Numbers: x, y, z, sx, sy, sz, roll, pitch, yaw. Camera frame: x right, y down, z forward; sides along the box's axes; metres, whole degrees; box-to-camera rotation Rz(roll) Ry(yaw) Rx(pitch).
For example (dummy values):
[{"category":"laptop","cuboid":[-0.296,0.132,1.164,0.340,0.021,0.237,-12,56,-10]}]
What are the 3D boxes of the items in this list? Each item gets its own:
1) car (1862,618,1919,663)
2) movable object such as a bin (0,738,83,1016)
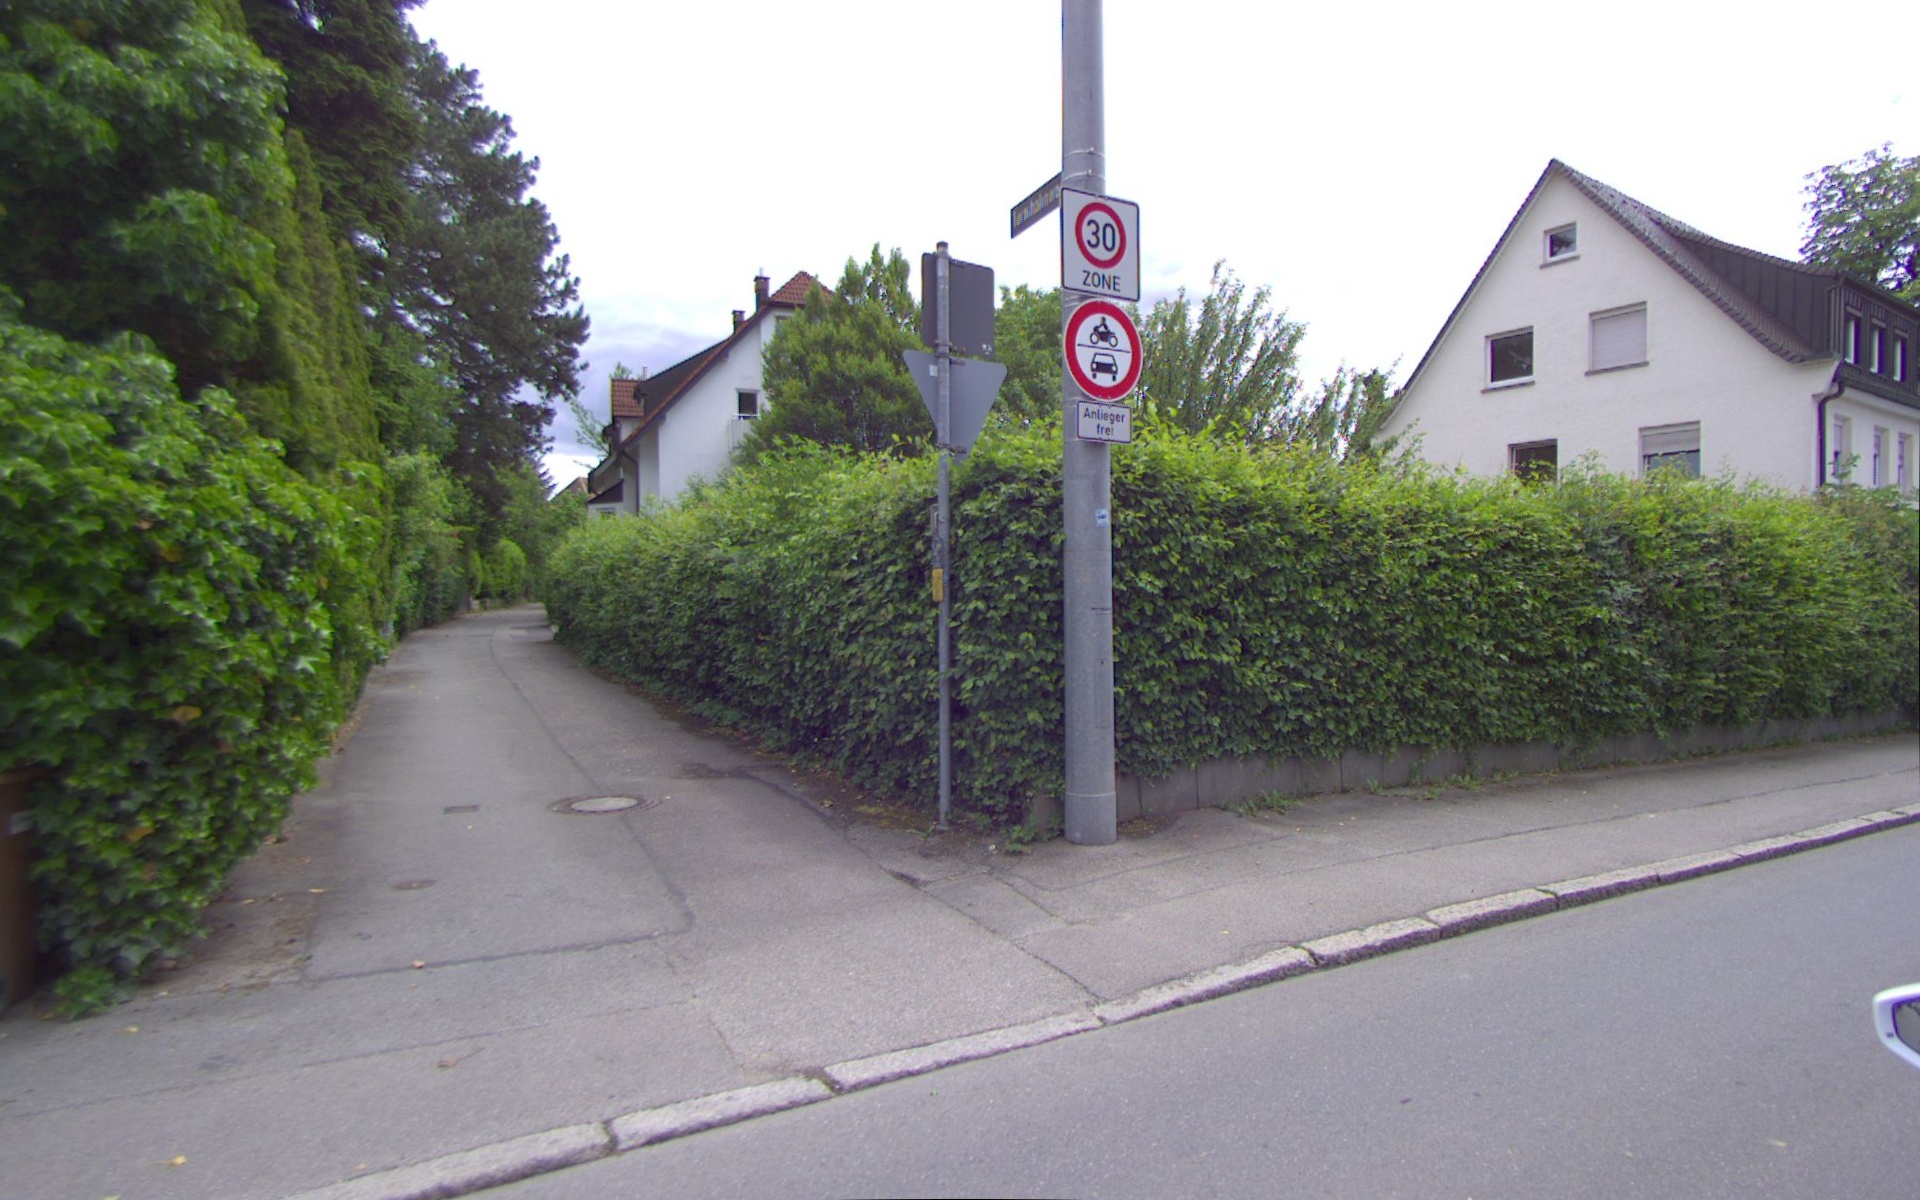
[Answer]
[{"category":"car","cuboid":[34.193,1.435,34.826,1.783,1.451,4.228,-2,1,-7]},{"category":"movable object such as a bin","cuboid":[-3.464,0.973,3.550,0.470,0.905,0.335,1,1,-26]}]
